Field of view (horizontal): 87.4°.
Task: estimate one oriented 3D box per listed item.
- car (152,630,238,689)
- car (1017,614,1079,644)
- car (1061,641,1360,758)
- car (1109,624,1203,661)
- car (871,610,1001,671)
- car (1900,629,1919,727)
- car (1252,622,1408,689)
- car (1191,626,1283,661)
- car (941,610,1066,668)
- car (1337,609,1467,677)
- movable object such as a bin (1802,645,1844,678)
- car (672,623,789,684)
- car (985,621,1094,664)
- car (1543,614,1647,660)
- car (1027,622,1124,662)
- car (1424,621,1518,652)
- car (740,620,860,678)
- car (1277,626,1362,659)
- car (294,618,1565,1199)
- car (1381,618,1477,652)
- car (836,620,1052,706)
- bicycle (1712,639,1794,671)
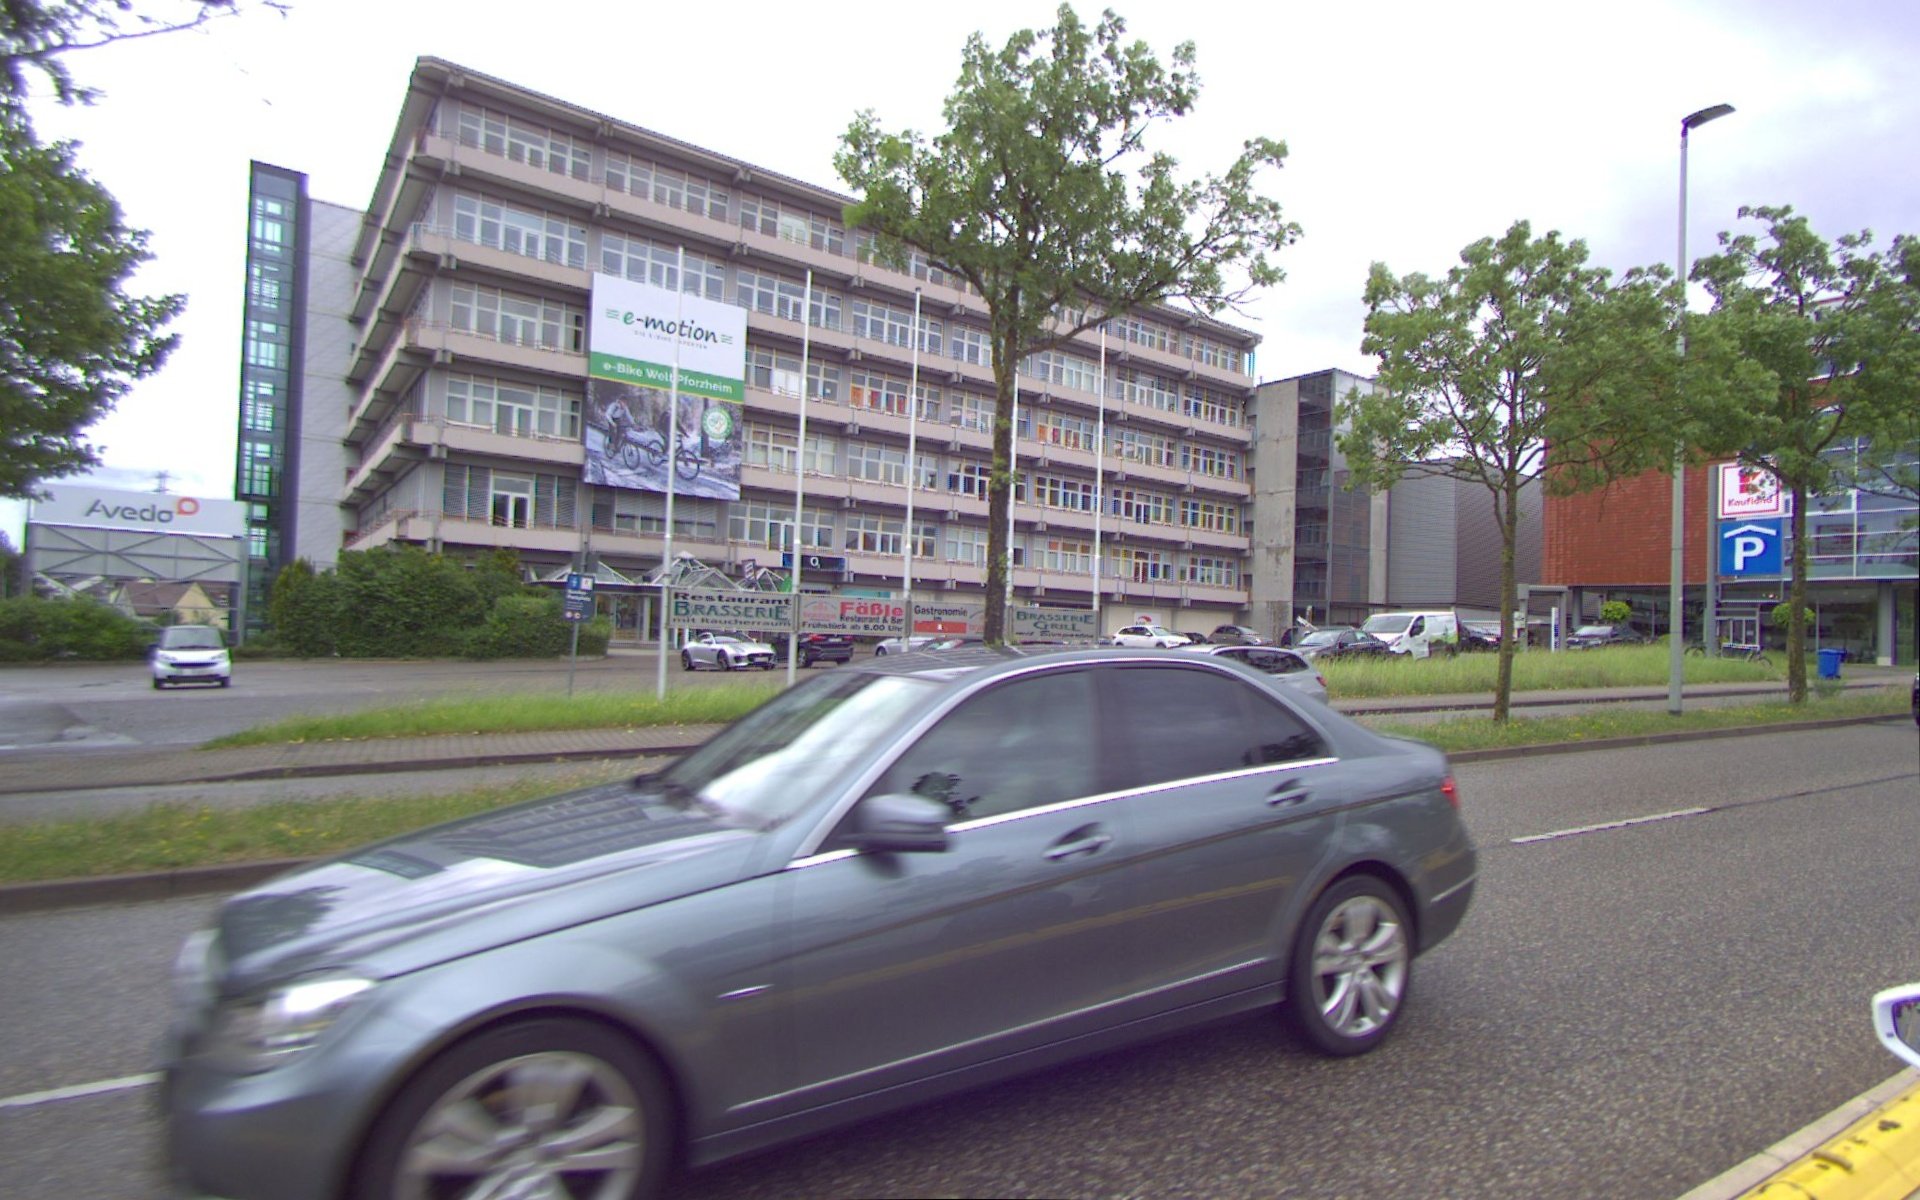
[{"bbox_3d":[-19.323,1.477,25.338,1.597,1.383,2.673,0,-2,-40],"label":"car"},{"bbox_3d":[5.657,1.830,64.950,1.783,1.755,3.958,0,1,-37],"label":"car"},{"bbox_3d":[3.946,1.442,15.621,4.523,1.573,1.858,1,-3,-31],"label":"car"},{"bbox_3d":[9.215,1.970,47.446,1.831,1.530,4.242,0,1,-38],"label":"car"},{"bbox_3d":[-0.866,1.246,32.734,1.949,1.769,4.563,0,1,-38],"label":"car"},{"bbox_3d":[18.330,1.330,17.401,4.384,1.635,1.779,2,-4,-30],"label":"car"},{"bbox_3d":[11.415,1.637,30.870,4.893,1.786,2.027,0,1,-34],"label":"car"},{"bbox_3d":[14.062,2.161,51.173,1.831,1.530,4.242,0,1,-38],"label":"car"},{"bbox_3d":[1.425,1.264,34.469,1.883,1.769,4.464,0,1,-38],"label":"car"},{"bbox_3d":[15.479,1.427,35.055,5.079,2.124,2.096,0,1,-40],"label":"car"},{"bbox_3d":[31.009,2.201,36.095,1.073,1.093,0.815,1,1,-30],"label":"movable object such as a bin"},{"bbox_3d":[-7.782,1.721,33.788,1.952,1.769,4.558,0,1,-41],"label":"car"},{"bbox_3d":[3.282,1.743,42.287,2.007,1.530,4.574,0,1,-38],"label":"car"},{"bbox_3d":[27.593,1.551,43.629,4.558,1.797,2.125,0,1,-33],"label":"car"},{"bbox_3d":[5.037,1.804,44.161,1.929,1.530,4.145,0,1,-38],"label":"car"},{"bbox_3d":[27.892,1.964,54.922,1.884,1.530,4.158,0,1,-38],"label":"car"},{"bbox_3d":[-5.745,1.662,35.644,2.117,1.769,4.558,0,1,-41],"label":"car"},{"bbox_3d":[19.608,2.284,54.862,1.803,1.530,4.077,0,1,-38],"label":"car"},{"bbox_3d":[0.190,0.847,3.751,4.326,1.428,1.659,2,-4,-30],"label":"car"},{"bbox_3d":[24.421,1.789,52.414,1.803,1.530,4.158,0,1,-38],"label":"car"},{"bbox_3d":[-0.301,1.332,22.726,4.665,1.630,1.920,0,1,-36],"label":"car"},{"bbox_3d":[29.321,2.017,37.171,1.079,0.948,2.069,2,3,-26],"label":"bicycle"}]
